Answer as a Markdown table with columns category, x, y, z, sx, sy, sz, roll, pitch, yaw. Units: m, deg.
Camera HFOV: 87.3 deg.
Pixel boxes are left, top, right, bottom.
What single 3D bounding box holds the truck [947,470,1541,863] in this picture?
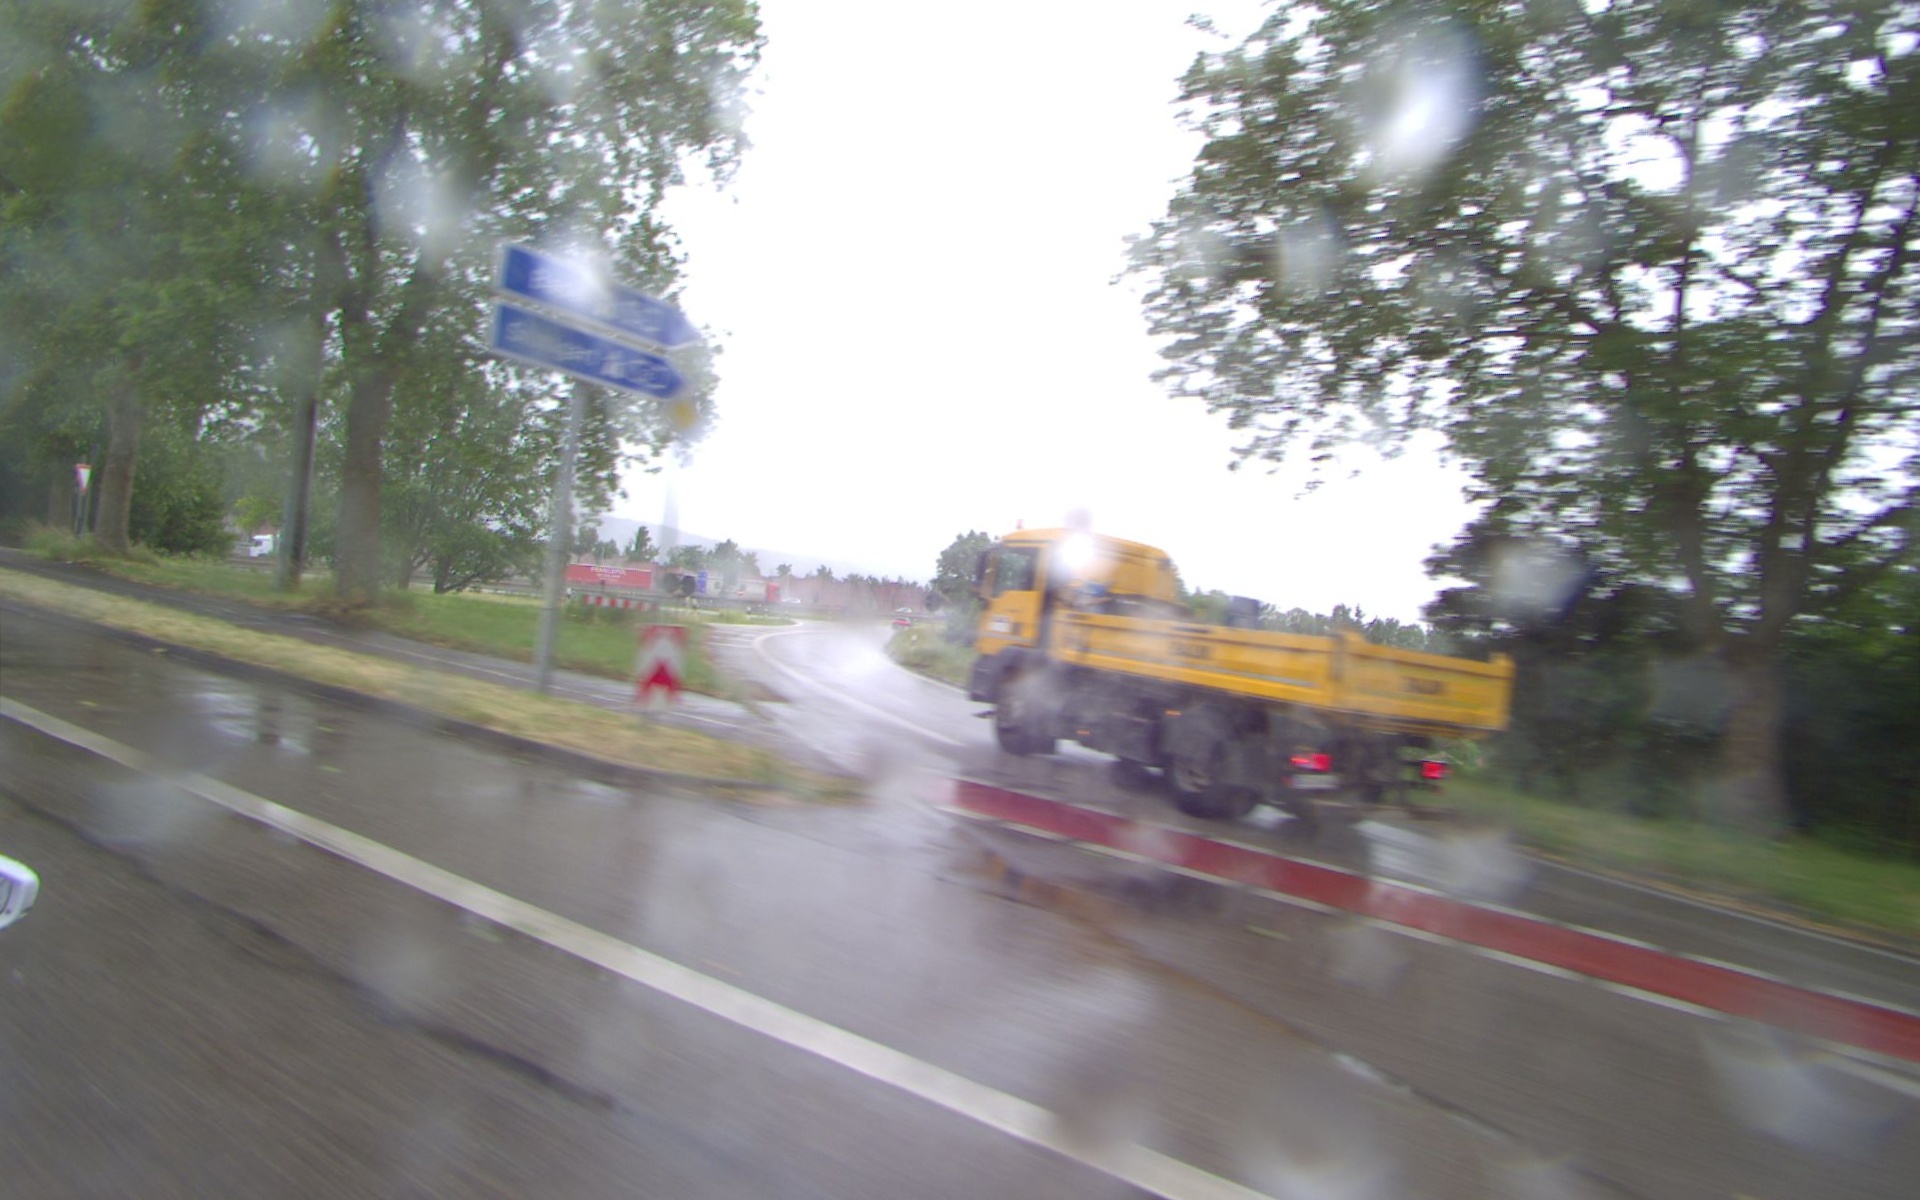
| category | x | y | z | sx | sy | sz | roll | pitch | yaw |
| --- | --- | --- | --- | --- | --- | --- | --- | --- | --- |
| truck | 2.721 | 0.580 | 12.198 | 2.536 | 3.295 | 6.885 | 9 | -2 | -27 |

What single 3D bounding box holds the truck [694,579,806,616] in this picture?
| category | x | y | z | sx | sy | sz | roll | pitch | yaw |
| --- | --- | --- | --- | --- | --- | --- | --- | --- | --- |
| truck | -32.221 | -0.308 | 154.935 | 16.584 | 4.211 | 3.266 | 5 | 1 | -30 |

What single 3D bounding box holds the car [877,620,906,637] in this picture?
| category | x | y | z | sx | sy | sz | roll | pitch | yaw |
| --- | --- | --- | --- | --- | --- | --- | --- | --- | --- |
| car | -7.007 | 2.935 | 103.062 | 1.651 | 1.436 | 3.611 | 8 | -2 | 16 |
